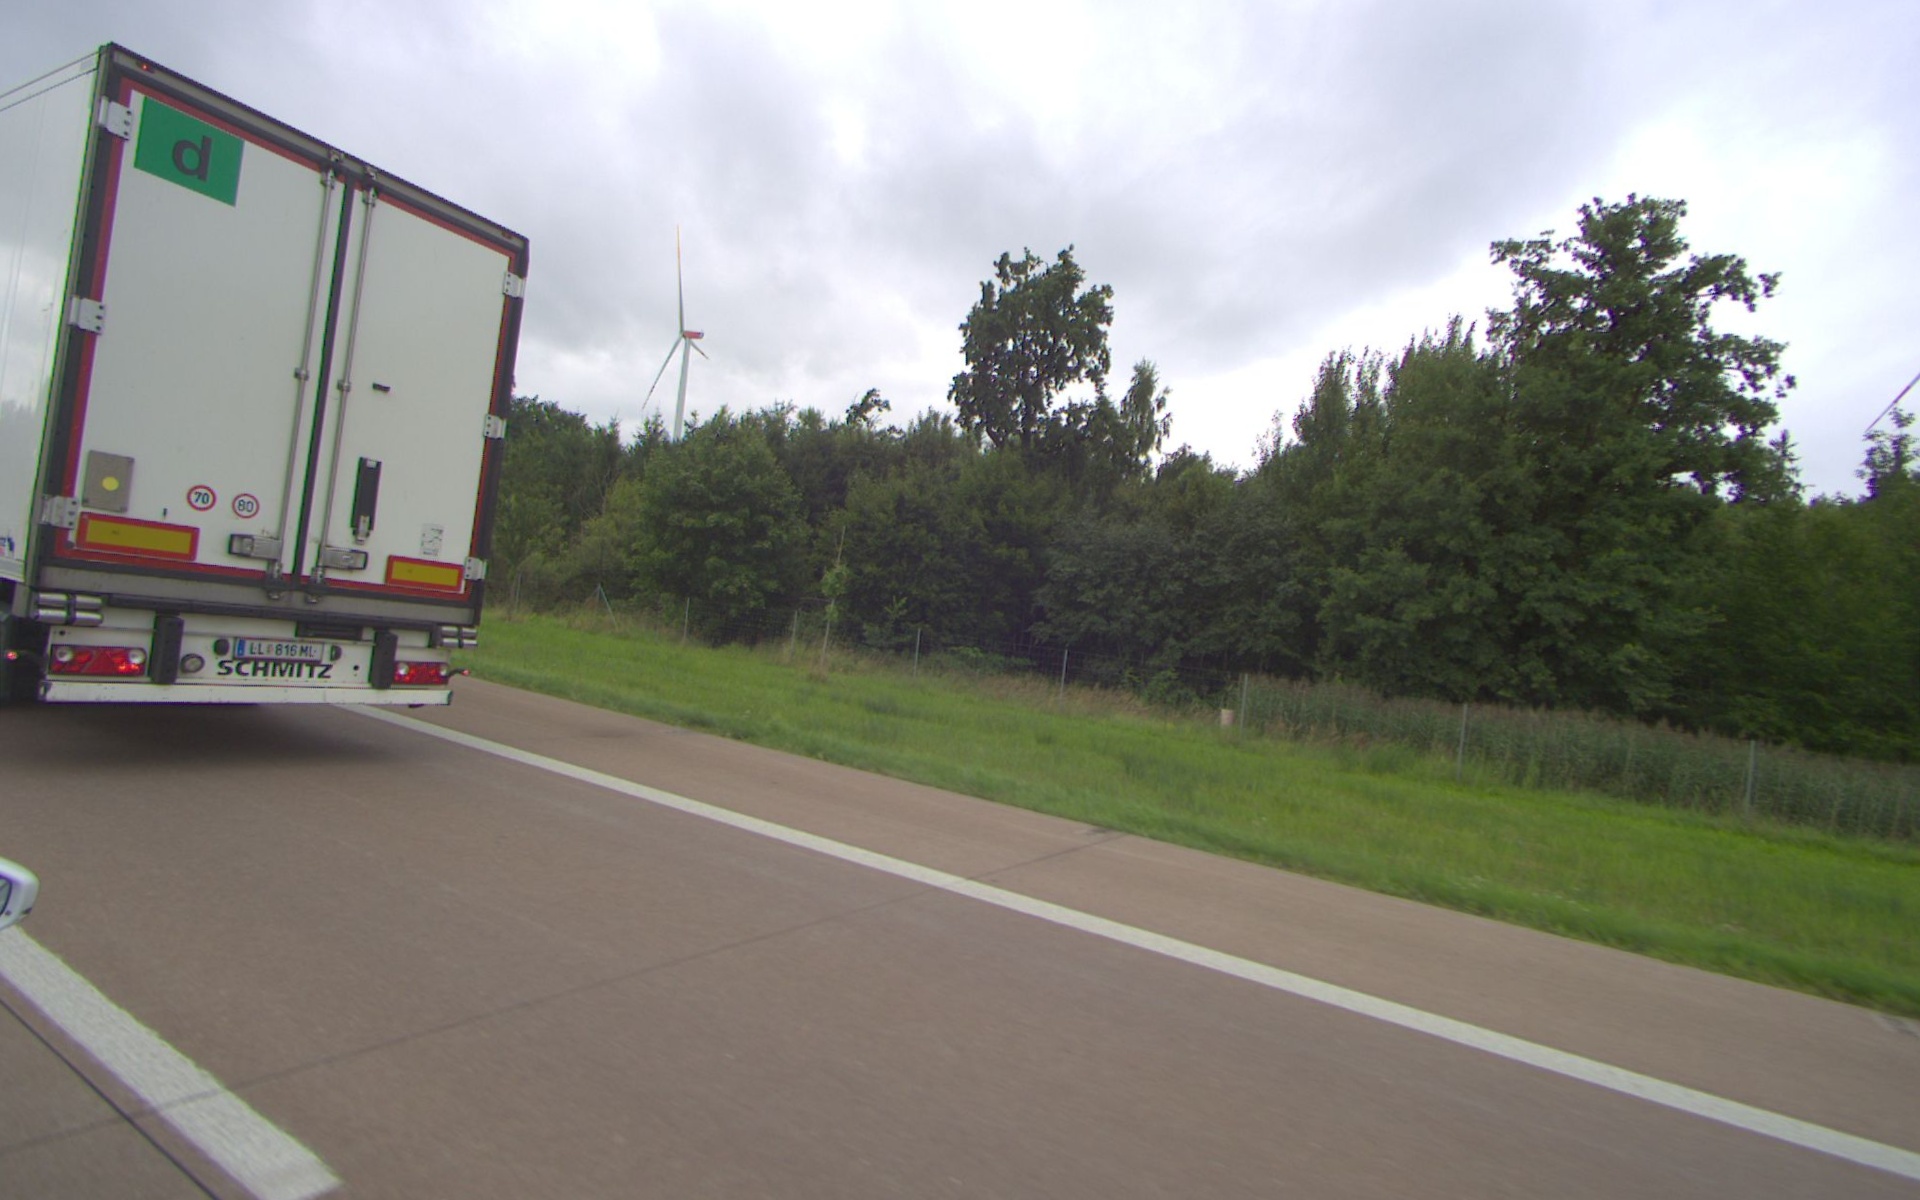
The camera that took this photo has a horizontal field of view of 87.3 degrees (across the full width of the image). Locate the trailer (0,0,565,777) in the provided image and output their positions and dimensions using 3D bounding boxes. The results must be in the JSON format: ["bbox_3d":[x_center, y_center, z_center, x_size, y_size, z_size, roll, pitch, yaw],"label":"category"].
[{"bbox_3d":[-9.691,-1.763,9.940,13.387,4.345,2.926,7,-1,32],"label":"trailer"}]

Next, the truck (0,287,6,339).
[{"bbox_3d":[-16.576,-2.587,14.193,5.246,4.345,2.926,7,-1,31],"label":"truck"}]
